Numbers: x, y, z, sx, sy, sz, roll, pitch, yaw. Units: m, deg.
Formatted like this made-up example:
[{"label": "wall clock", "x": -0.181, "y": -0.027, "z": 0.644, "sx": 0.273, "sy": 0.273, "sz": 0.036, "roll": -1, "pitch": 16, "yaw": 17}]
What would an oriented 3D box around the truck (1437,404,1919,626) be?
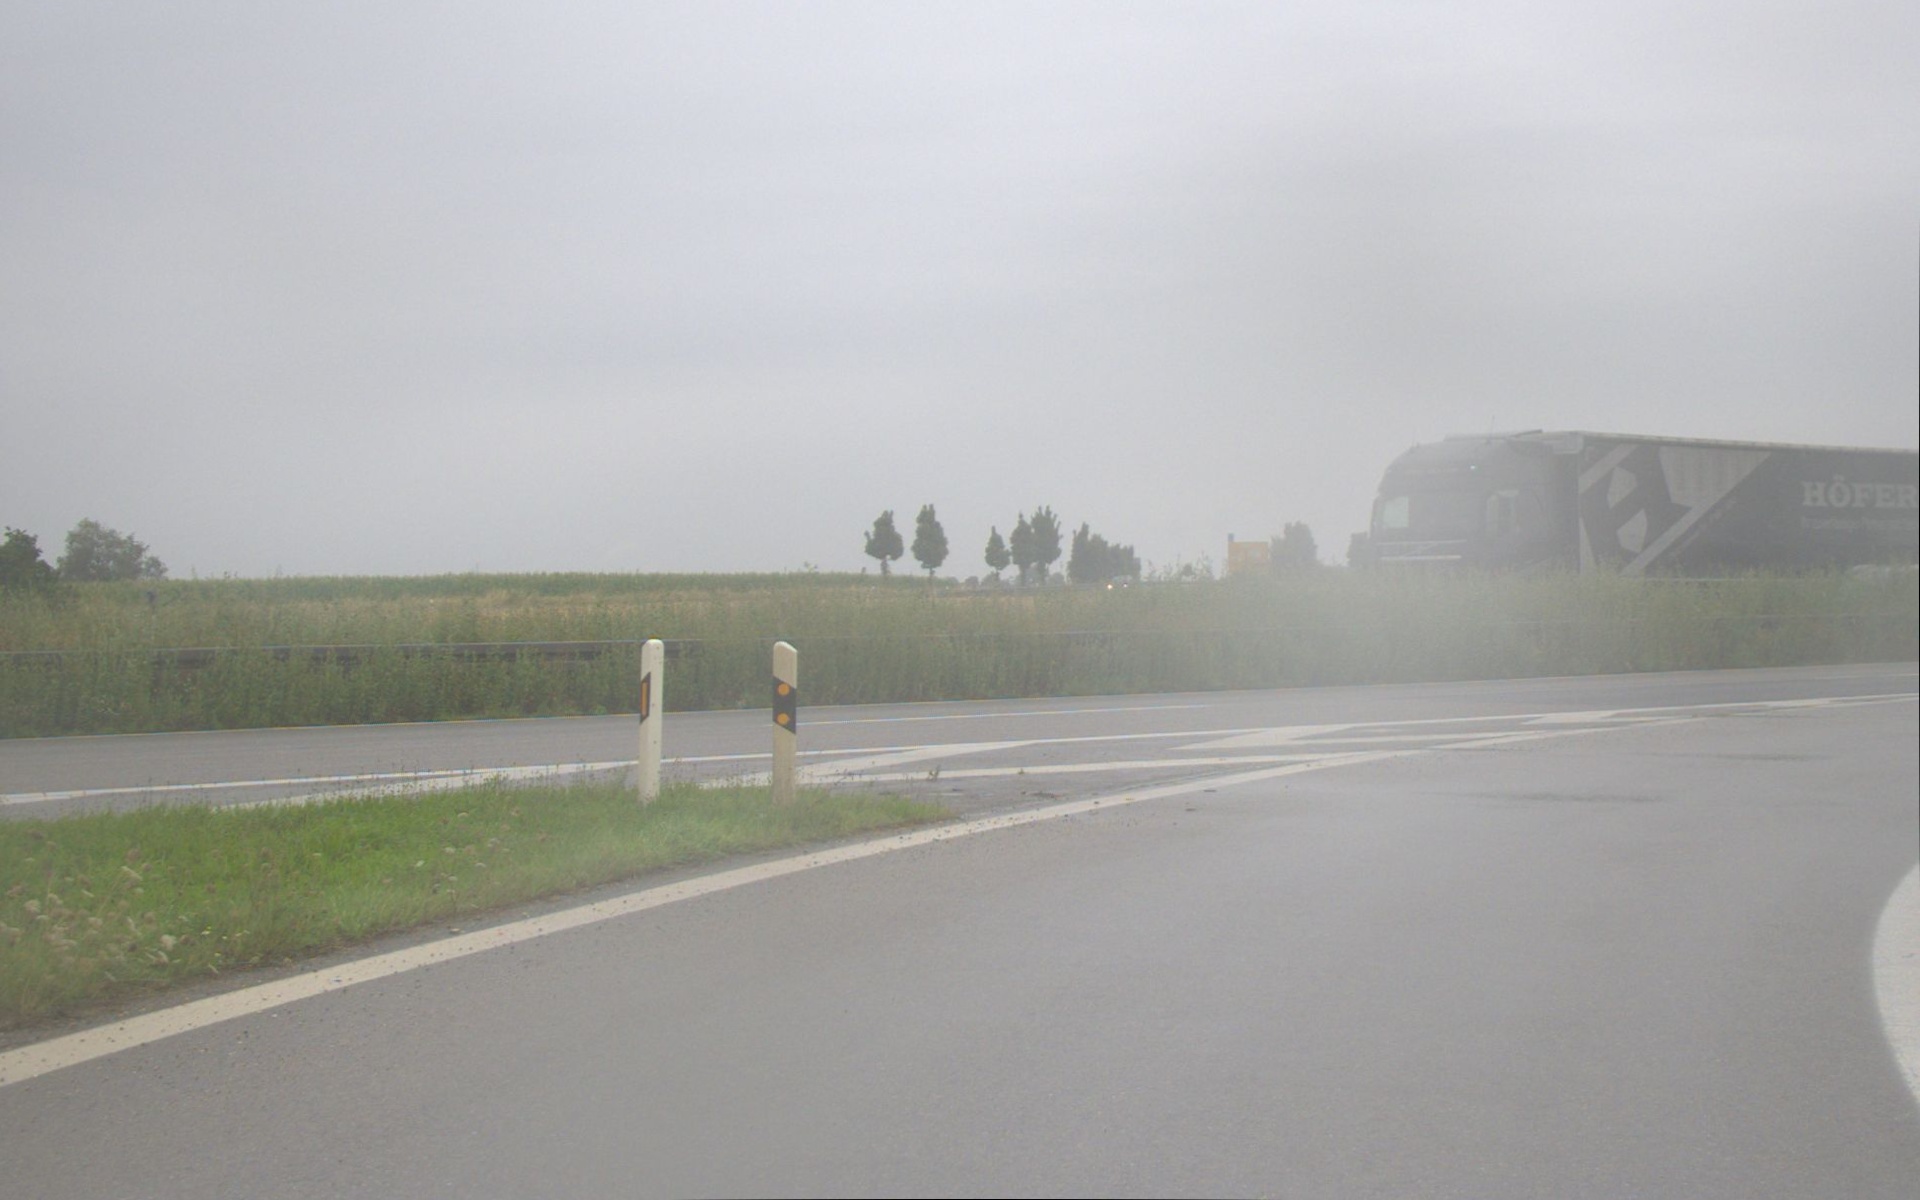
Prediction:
[{"label": "truck", "x": 14.809, "y": -1.596, "z": 67.023, "sx": 3.203, "sy": 3.953, "sz": 13.777, "roll": 3, "pitch": 2, "yaw": 45}]
